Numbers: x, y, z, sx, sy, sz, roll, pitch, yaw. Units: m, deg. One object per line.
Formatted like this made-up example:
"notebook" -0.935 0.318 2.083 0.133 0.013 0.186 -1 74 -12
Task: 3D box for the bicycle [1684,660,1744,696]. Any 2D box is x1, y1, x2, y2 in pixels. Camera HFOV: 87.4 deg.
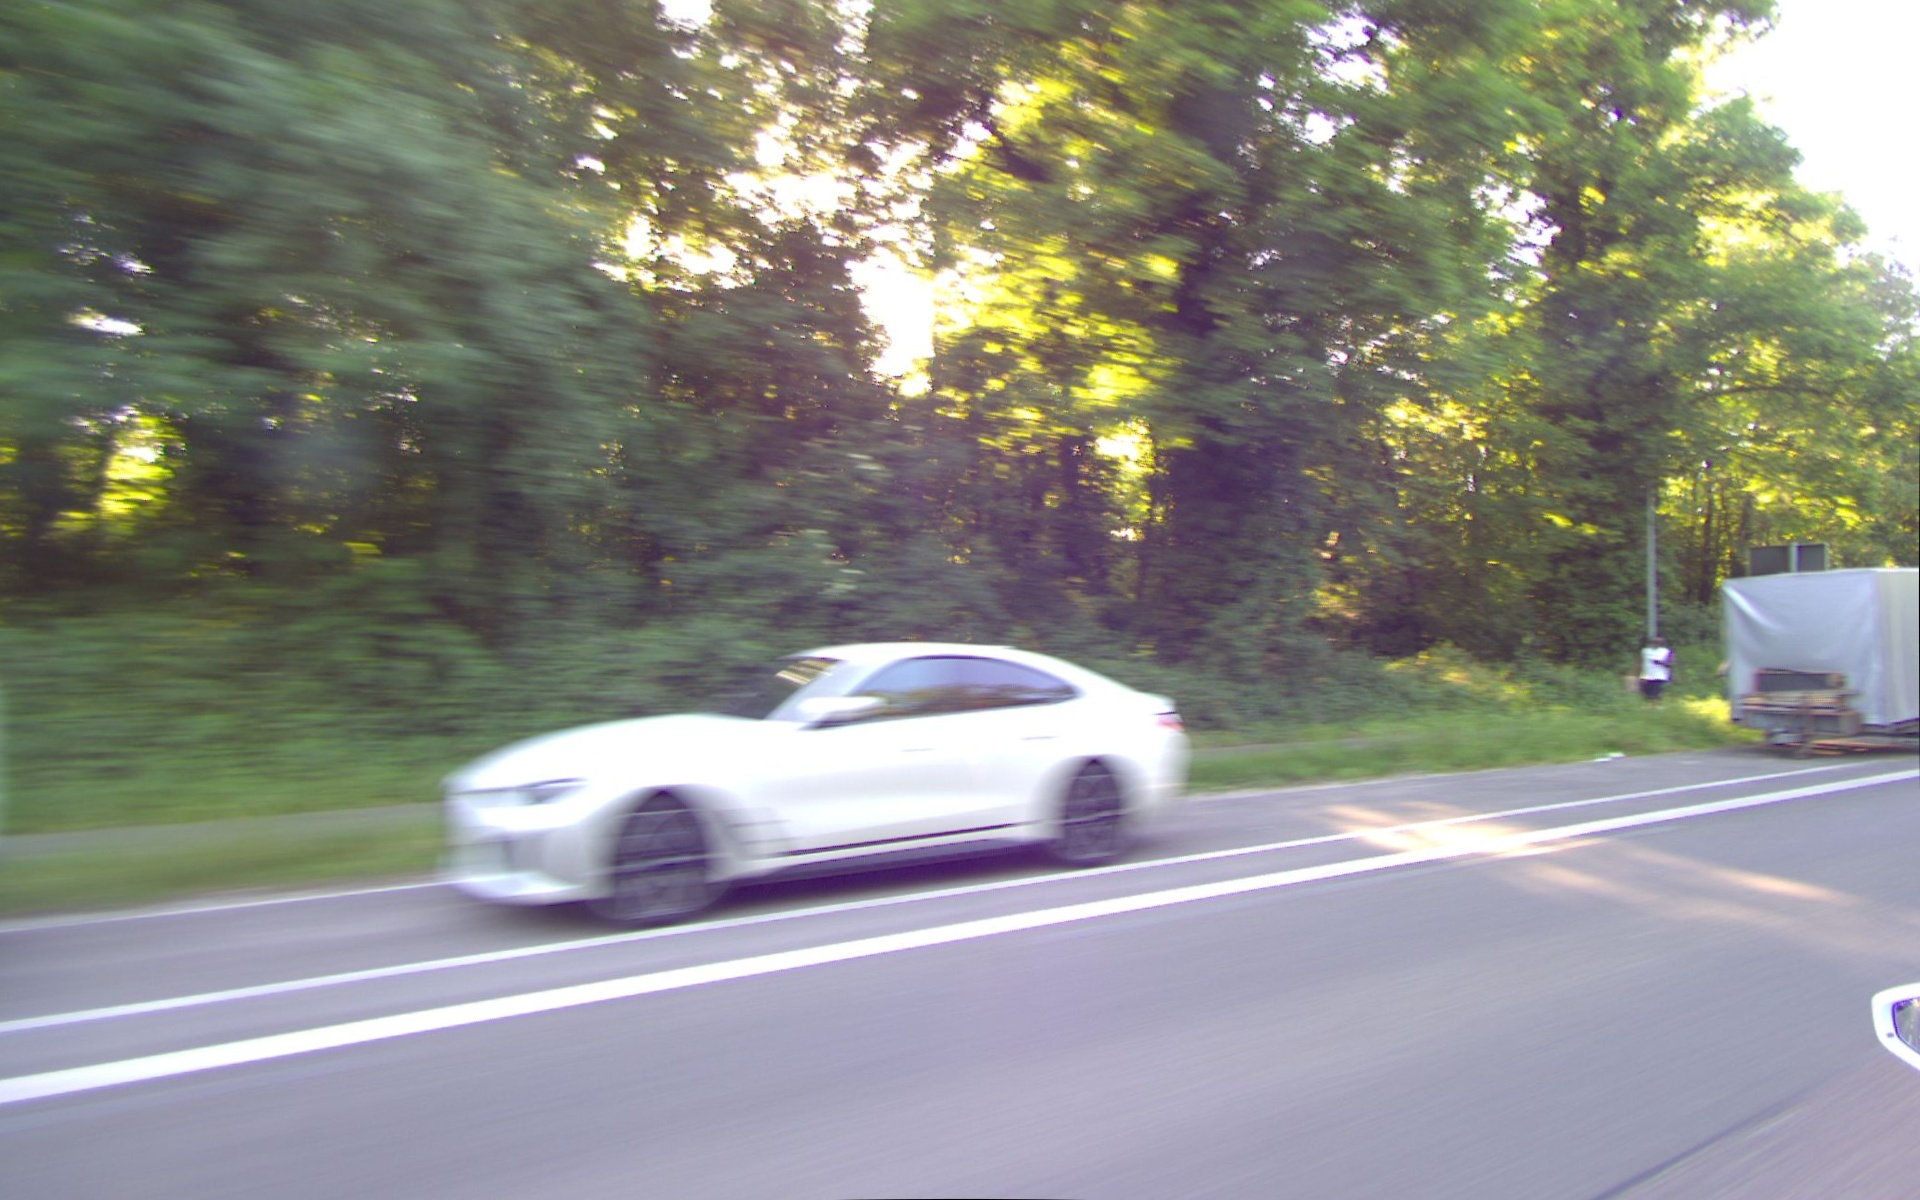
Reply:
"bicycle" 16.467 1.686 21.928 1.469 0.722 0.519 2 -1 -30

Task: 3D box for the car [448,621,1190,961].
"car" -0.776 0.966 6.550 4.472 1.560 1.766 2 -3 -31

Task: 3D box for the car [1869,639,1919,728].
"car" 17.966 1.429 17.601 4.573 1.472 1.789 2 -3 -31

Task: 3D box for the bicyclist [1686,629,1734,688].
"bicyclist" 16.333 1.273 21.873 0.962 1.251 0.485 1 0 -30

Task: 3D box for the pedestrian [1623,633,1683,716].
"pedestrian" 14.206 1.504 20.596 0.708 1.628 0.755 1 0 -30

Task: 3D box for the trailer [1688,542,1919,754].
"trailer" 12.723 0.696 14.458 4.363 2.631 1.985 1 -3 -30

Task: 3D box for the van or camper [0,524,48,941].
"van or camper" -6.371 0.561 3.193 4.800 1.936 1.827 2 -3 -31
